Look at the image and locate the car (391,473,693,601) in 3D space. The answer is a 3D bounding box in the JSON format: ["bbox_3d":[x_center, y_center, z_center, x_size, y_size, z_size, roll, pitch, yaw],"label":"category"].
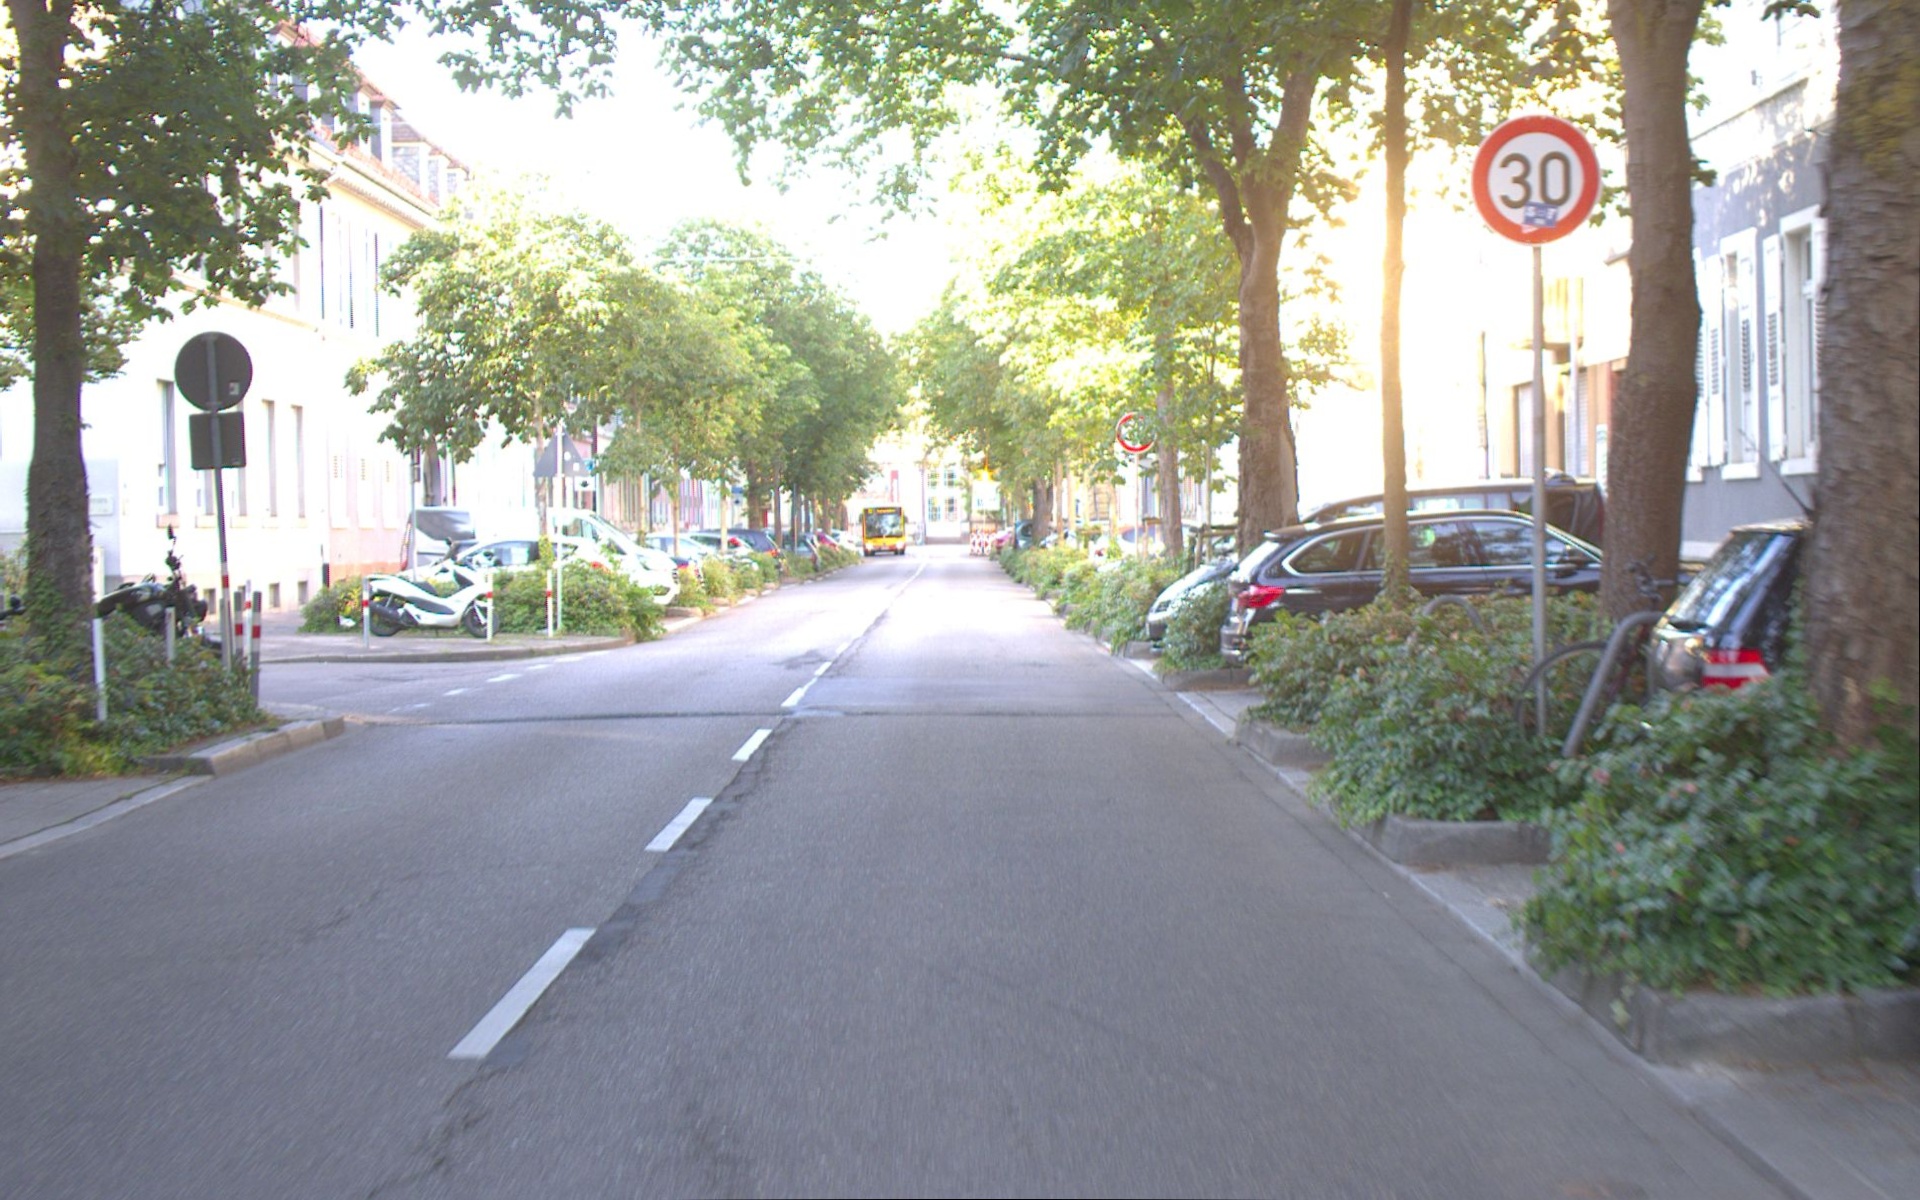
[{"bbox_3d":[-7.445,-1.149,61.654,5.064,2.076,2.263,-2,2,0],"label":"car"}]

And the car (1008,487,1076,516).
[{"bbox_3d":[5.158,-6.208,216.451,3.988,1.765,1.999,-1,2,9],"label":"car"}]

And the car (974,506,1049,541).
[{"bbox_3d":[2.887,-4.324,193.976,3.988,1.831,2.000,-1,2,8],"label":"car"}]

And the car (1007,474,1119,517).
[{"bbox_3d":[3.766,-3.861,126.409,3.987,1.437,1.697,-2,2,-1],"label":"car"}]

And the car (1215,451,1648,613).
[{"bbox_3d":[4.658,-0.694,34.377,4.014,1.414,1.781,-2,2,-1],"label":"car"}]

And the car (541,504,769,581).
[{"bbox_3d":[-7.211,-1.371,81.725,5.065,1.611,2.263,-2,2,3],"label":"car"}]

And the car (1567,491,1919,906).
[{"bbox_3d":[4.577,0.293,13.509,4.014,1.475,1.781,-2,2,-1],"label":"car"}]

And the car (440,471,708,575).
[{"bbox_3d":[-7.782,-1.574,69.698,5.064,1.817,2.263,-2,5,2],"label":"car"}]

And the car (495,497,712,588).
[{"bbox_3d":[-8.862,-1.451,85.909,5.064,2.076,2.263,-2,2,2],"label":"car"}]

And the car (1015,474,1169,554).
[{"bbox_3d":[3.520,-2.277,90.931,3.987,2.006,2.000,-1,2,3],"label":"car"}]

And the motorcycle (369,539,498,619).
[{"bbox_3d":[-7.203,-0.291,47.082,1.636,1.064,0.656,-1,2,0],"label":"motorcycle"}]

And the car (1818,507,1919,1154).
[{"bbox_3d":[4.271,0.441,7.666,4.192,1.475,1.852,-3,2,0],"label":"car"}]

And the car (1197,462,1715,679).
[{"bbox_3d":[4.086,-0.267,28.779,4.014,1.617,1.781,-2,2,-1],"label":"car"}]

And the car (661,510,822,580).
[{"bbox_3d":[-7.225,-1.831,113.991,5.064,2.076,2.263,-2,2,1],"label":"car"}]

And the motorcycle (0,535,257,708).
[{"bbox_3d":[-6.452,0.157,26.473,1.919,1.254,0.591,-2,2,0],"label":"motorcycle"}]

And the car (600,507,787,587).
[{"bbox_3d":[-7.564,-1.526,97.990,5.064,2.076,2.263,-2,2,1],"label":"car"}]

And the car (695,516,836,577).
[{"bbox_3d":[-7.296,-2.036,129.584,5.064,2.076,2.263,-2,2,1],"label":"car"}]

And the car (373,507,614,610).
[{"bbox_3d":[-7.600,-0.694,56.272,3.725,1.503,1.873,-2,2,-3],"label":"car"}]

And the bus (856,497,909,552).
[{"bbox_3d":[-4.652,-4.630,208.737,3.028,3.179,9.404,-1,2,-1],"label":"bus"}]

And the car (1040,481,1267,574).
[{"bbox_3d":[4.009,-1.531,71.742,4.593,1.755,2.222,-2,2,1],"label":"car"}]

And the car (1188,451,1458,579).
[{"bbox_3d":[5.013,-1.193,47.793,3.616,1.621,1.585,-2,2,3],"label":"car"}]
